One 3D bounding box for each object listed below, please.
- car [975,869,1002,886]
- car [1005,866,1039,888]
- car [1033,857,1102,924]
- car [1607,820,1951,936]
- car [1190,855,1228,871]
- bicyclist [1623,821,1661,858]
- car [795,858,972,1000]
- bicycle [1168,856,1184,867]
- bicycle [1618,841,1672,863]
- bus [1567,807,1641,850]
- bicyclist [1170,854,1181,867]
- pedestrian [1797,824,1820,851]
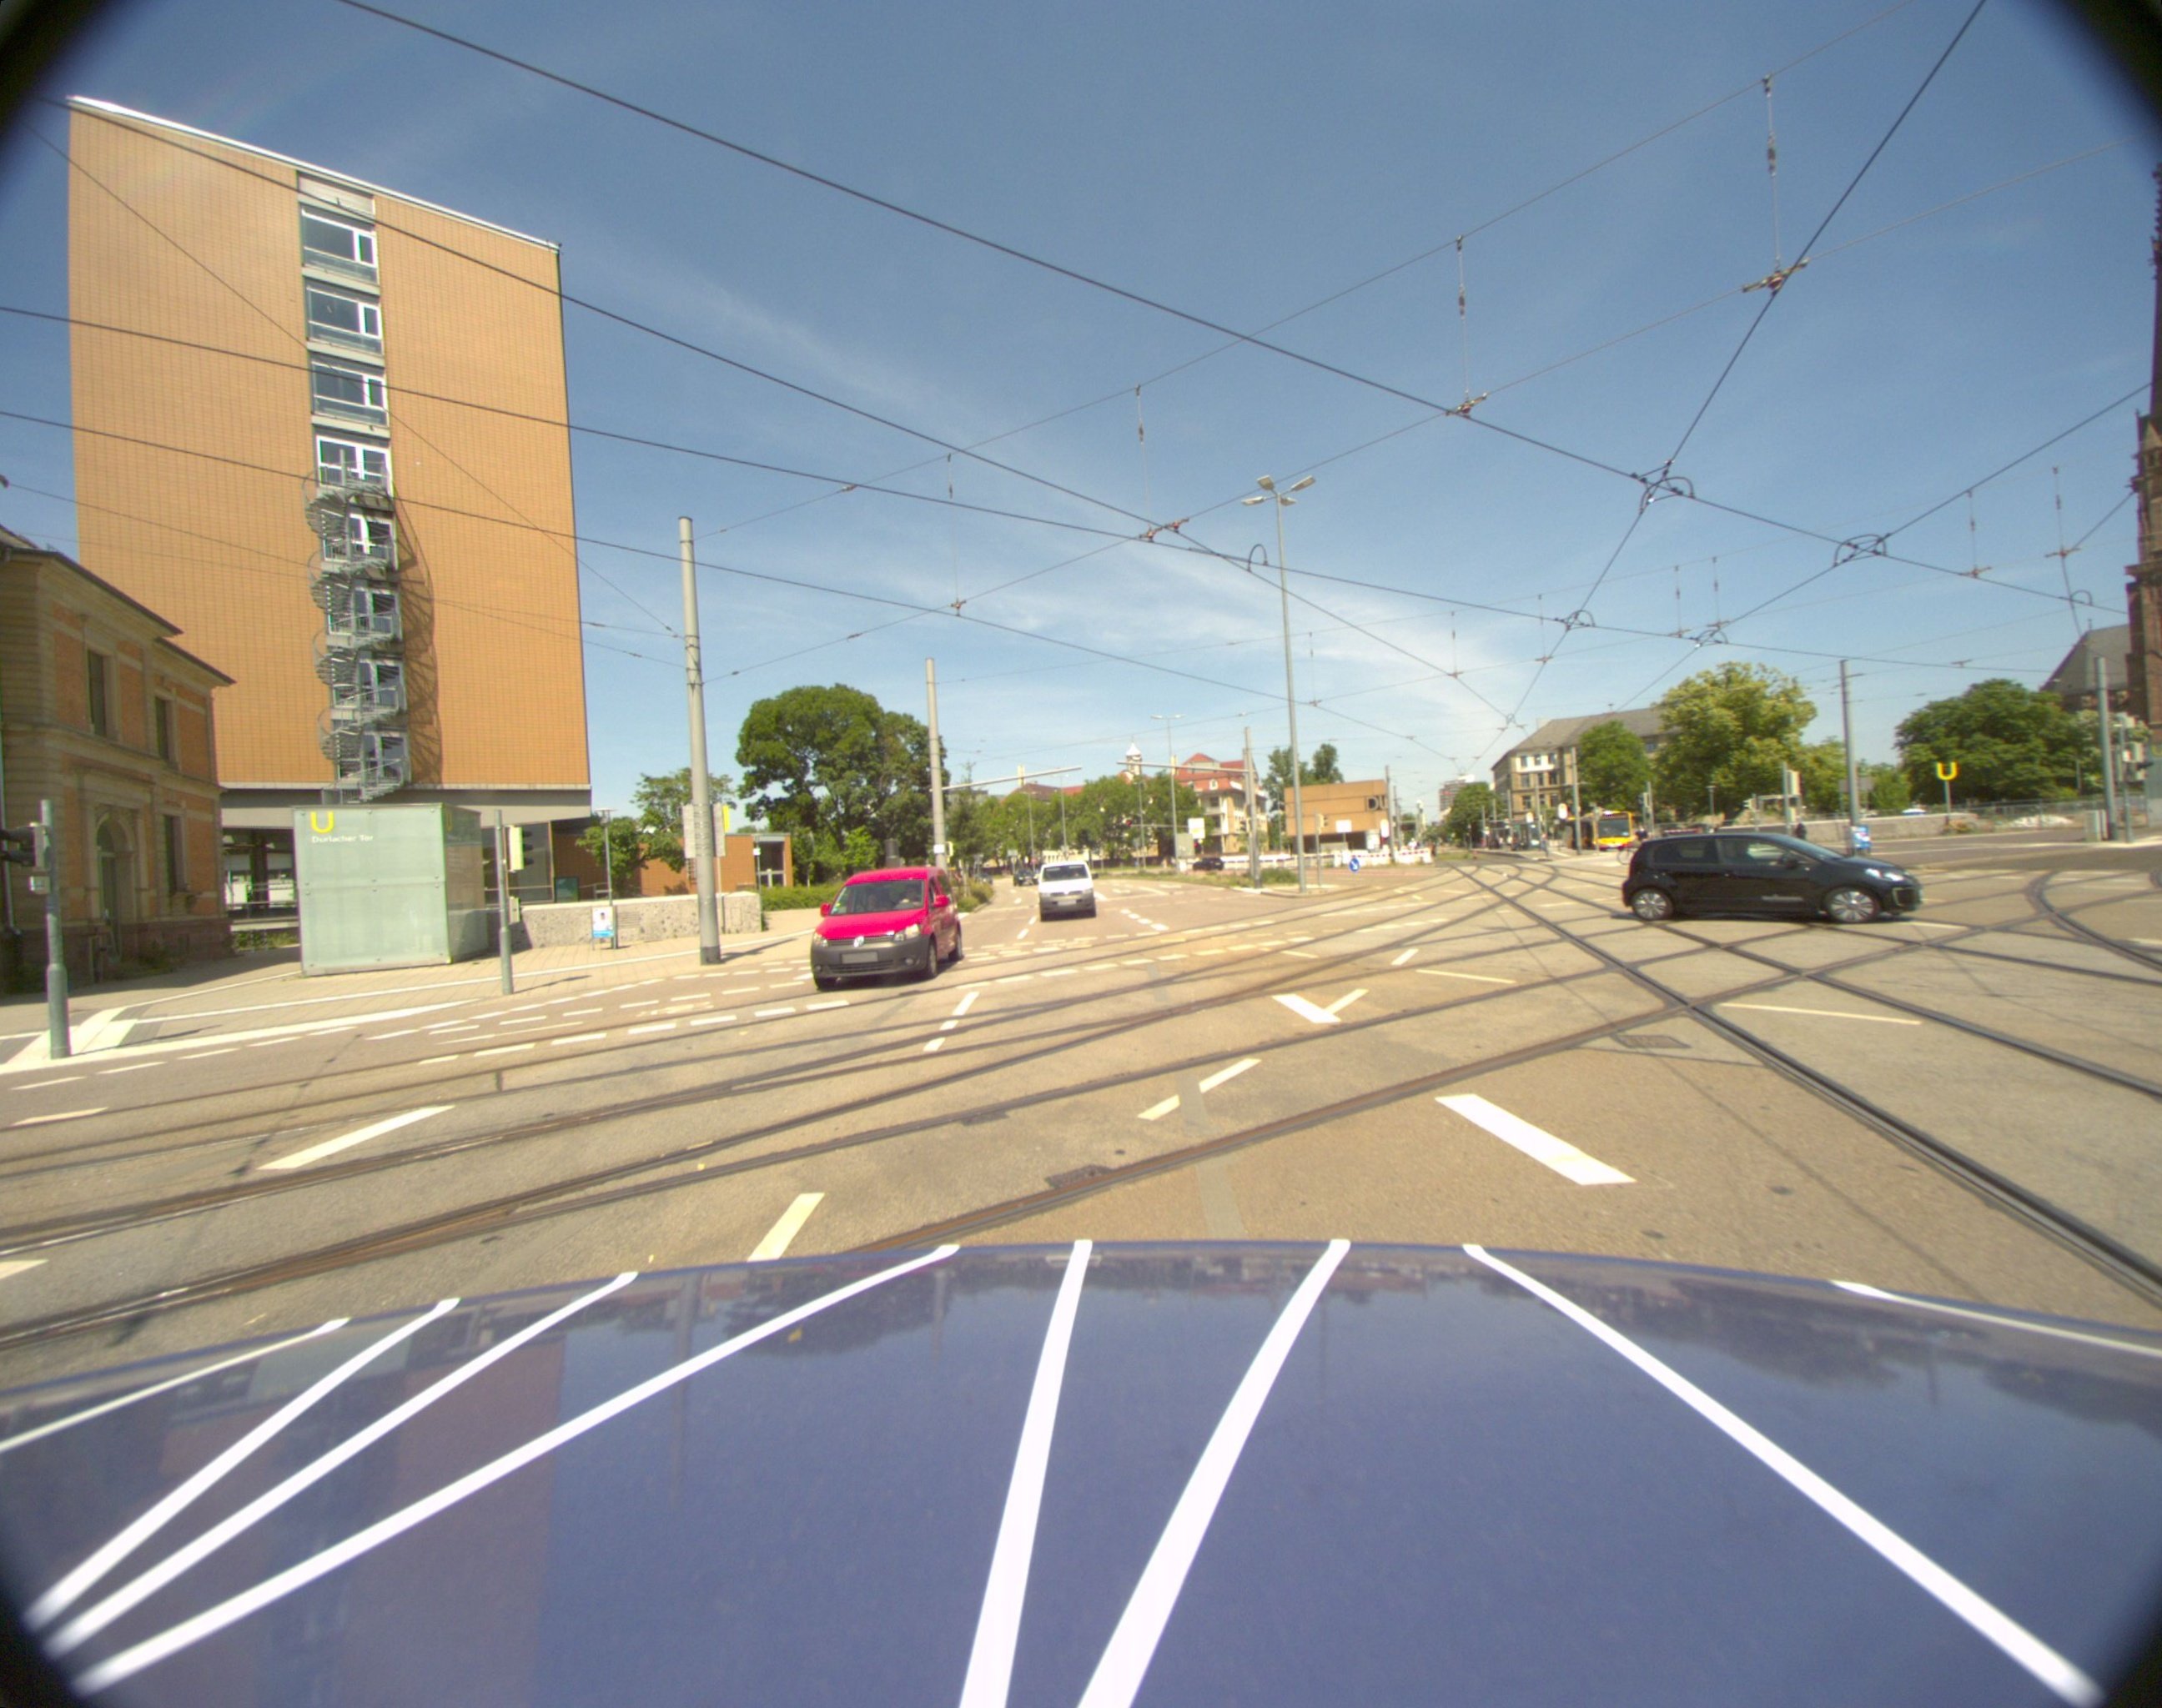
[{"bbox_3d":[-11.036,2.781,90.633,2.002,1.739,3.994,-6,0,-22],"label":"car"},{"bbox_3d":[-5.911,2.329,75.524,2.002,2.001,3.993,-4,-1,-25],"label":"car"},{"bbox_3d":[-0.368,1.180,26.635,1.971,1.958,4.849,-5,0,2],"label":"car"},{"bbox_3d":[11.136,0.416,12.393,1.752,1.566,3.730,-2,-2,-33],"label":"car"},{"bbox_3d":[13.231,0.974,79.000,2.001,1.456,4.841,-4,-1,-15],"label":"car"},{"bbox_3d":[25.132,-0.635,34.038,1.253,1.520,0.438,-6,1,0],"label":"bicyclist"},{"bbox_3d":[-3.072,1.069,12.836,1.655,1.848,4.546,-5,-1,0],"label":"car"},{"bbox_3d":[10.530,0.854,84.441,0.879,1.066,2.229,-6,0,-18],"label":"bicycle"},{"bbox_3d":[25.190,-0.091,33.976,1.898,0.850,0.628,-4,0,0],"label":"bicycle"},{"bbox_3d":[42.325,-1.967,61.921,2.850,2.998,12.240,-4,-1,25],"label":"bus"},{"bbox_3d":[10.502,0.747,84.489,0.587,1.348,1.438,-6,1,-18],"label":"bicyclist"},{"bbox_3d":[36.060,-0.812,37.663,0.526,1.326,1.000,-4,0,29],"label":"pedestrian"}]
